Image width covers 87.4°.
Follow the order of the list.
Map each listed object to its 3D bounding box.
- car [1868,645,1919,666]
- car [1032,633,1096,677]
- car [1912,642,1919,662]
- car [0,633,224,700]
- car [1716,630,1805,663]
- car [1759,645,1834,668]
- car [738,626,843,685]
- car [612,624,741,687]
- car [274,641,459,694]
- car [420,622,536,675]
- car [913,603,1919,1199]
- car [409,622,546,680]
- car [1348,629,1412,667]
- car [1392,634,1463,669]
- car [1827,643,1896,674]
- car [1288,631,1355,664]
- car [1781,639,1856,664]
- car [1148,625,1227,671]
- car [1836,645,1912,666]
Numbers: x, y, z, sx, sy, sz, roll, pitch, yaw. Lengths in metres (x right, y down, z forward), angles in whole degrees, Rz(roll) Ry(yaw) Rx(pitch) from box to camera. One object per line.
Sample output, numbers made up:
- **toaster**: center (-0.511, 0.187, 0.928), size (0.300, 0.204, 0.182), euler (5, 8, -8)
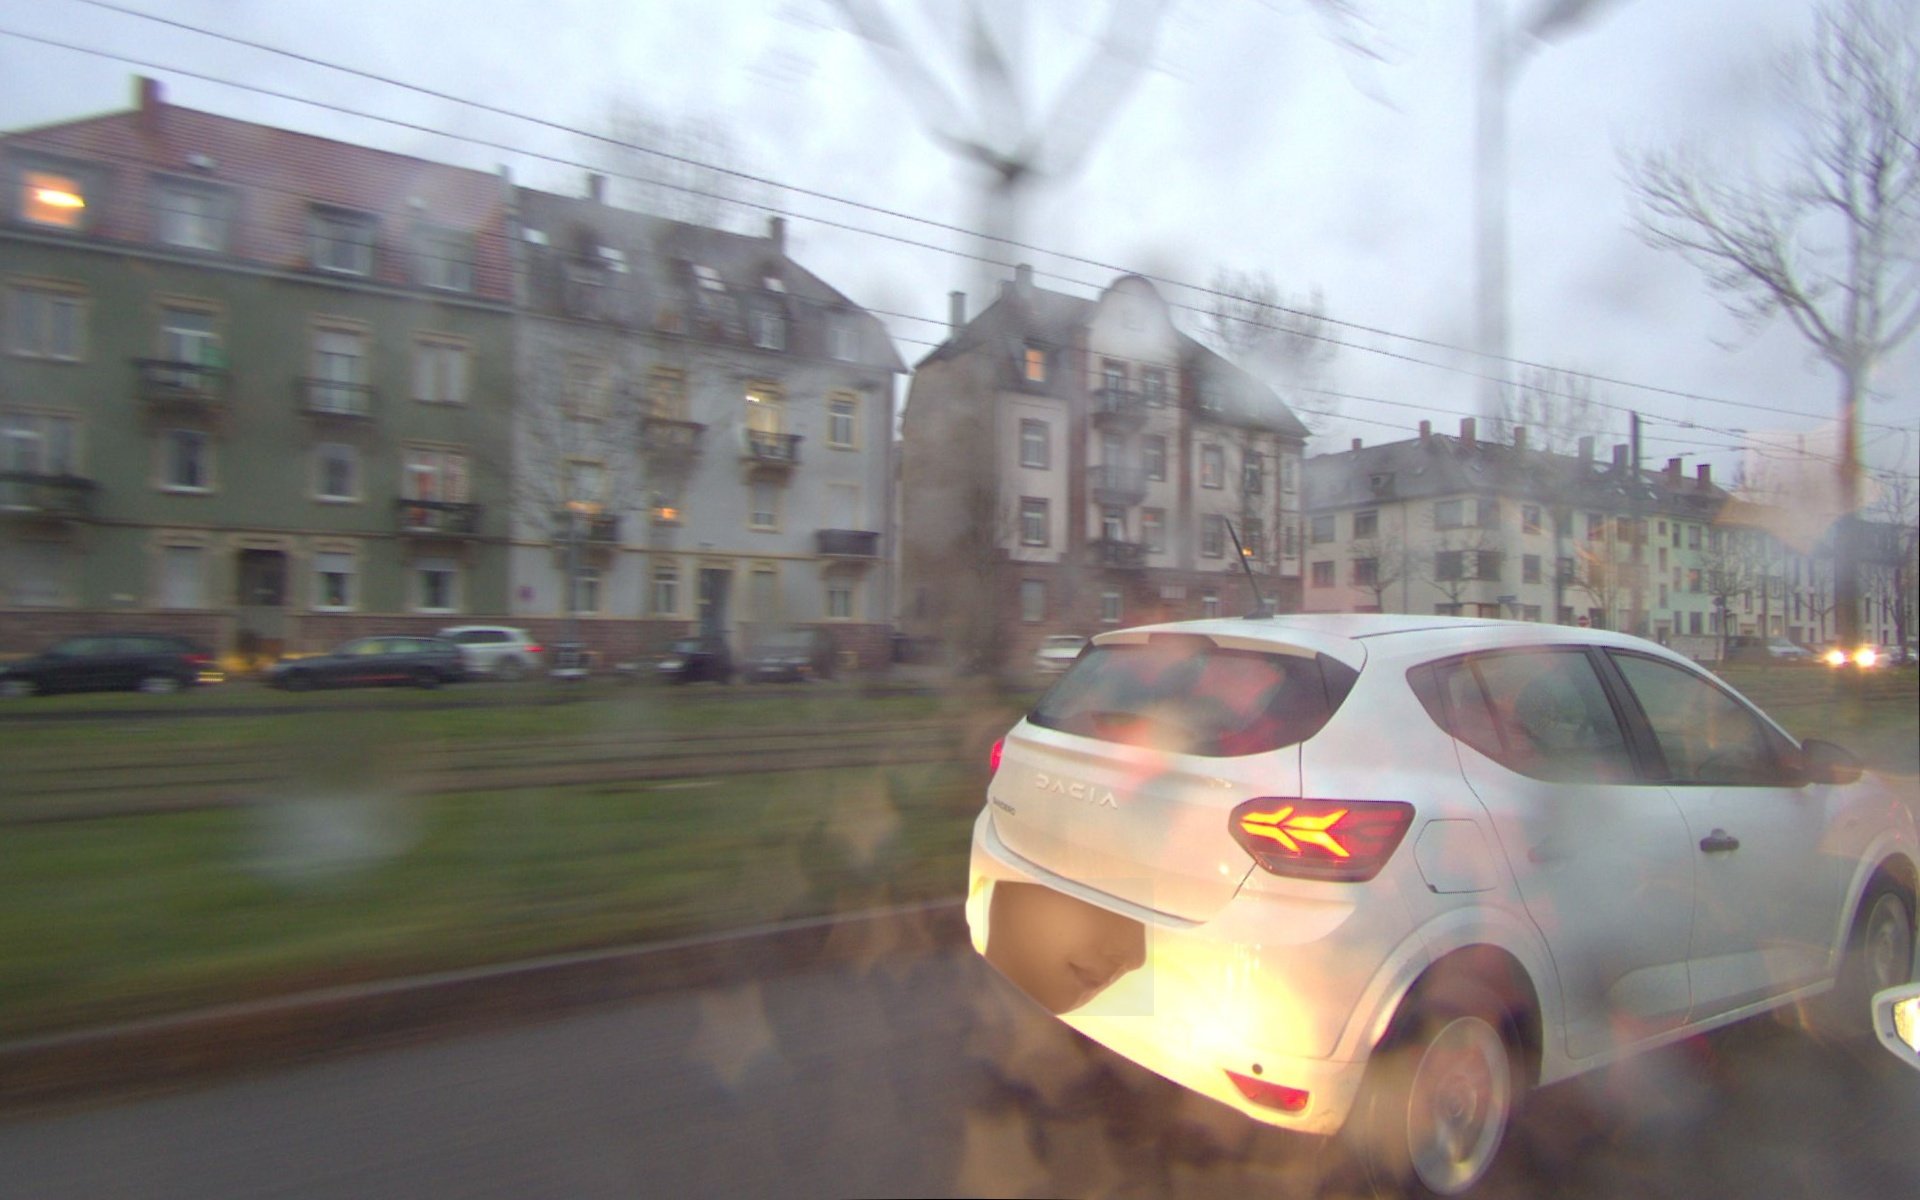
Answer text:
- **car**: center (64.229, 3.759, 68.293), size (1.702, 1.262, 3.846), euler (2, 0, 6)
- **car**: center (3.651, 1.845, 34.515), size (1.796, 1.274, 4.269), euler (1, -1, 11)
- **car**: center (72.282, 3.909, 73.885), size (1.636, 1.440, 3.388), euler (1, -1, 9)
- **car**: center (-19.153, 1.481, 22.682), size (3.861, 1.357, 1.459), euler (2, -1, -28)
- **car**: center (47.324, 2.704, 59.538), size (1.796, 1.746, 4.661), euler (2, 0, 4)
- **car**: center (50.745, 3.388, 61.010), size (1.702, 1.156, 3.573), euler (2, 0, 3)
- **car**: center (-4.736, 1.521, 28.723), size (1.660, 1.451, 4.667), euler (2, -1, 7)
- **car**: center (-7.609, 1.457, 27.378), size (1.783, 1.467, 3.954), euler (1, 0, 11)
- **car**: center (-14.692, 1.641, 24.991), size (3.859, 1.184, 1.222), euler (2, -1, -34)
- **car**: center (-15.253, 1.524, 31.796), size (3.229, 1.550, 1.603), euler (2, 0, -29)
- **car**: center (1.971, 0.819, 3.709), size (3.954, 1.494, 1.680), euler (2, -1, -30)
- **car**: center (-14.202, 1.486, 29.590), size (3.496, 1.572, 1.672), euler (2, -1, -30)
- **car**: center (17.437, 1.976, 41.844), size (1.321, 1.246, 4.046), euler (3, 1, 7)
- **car**: center (20.247, 2.207, 43.659), size (1.677, 1.176, 4.107), euler (3, 1, 9)
- **car**: center (47.303, 3.046, 52.689), size (3.738, 1.524, 1.539), euler (2, -1, -29)
- **car**: center (14.142, 1.853, 39.480), size (1.759, 1.003, 2.920), euler (3, 1, 5)
- **car**: center (53.080, 3.189, 62.170), size (1.653, 1.326, 3.582), euler (2, 0, 3)
- **car**: center (8.159, 1.690, 36.367), size (1.842, 1.437, 3.361), euler (3, -1, -4)
- **car**: center (60.781, 3.678, 66.860), size (1.703, 1.188, 3.823), euler (2, 0, 3)
